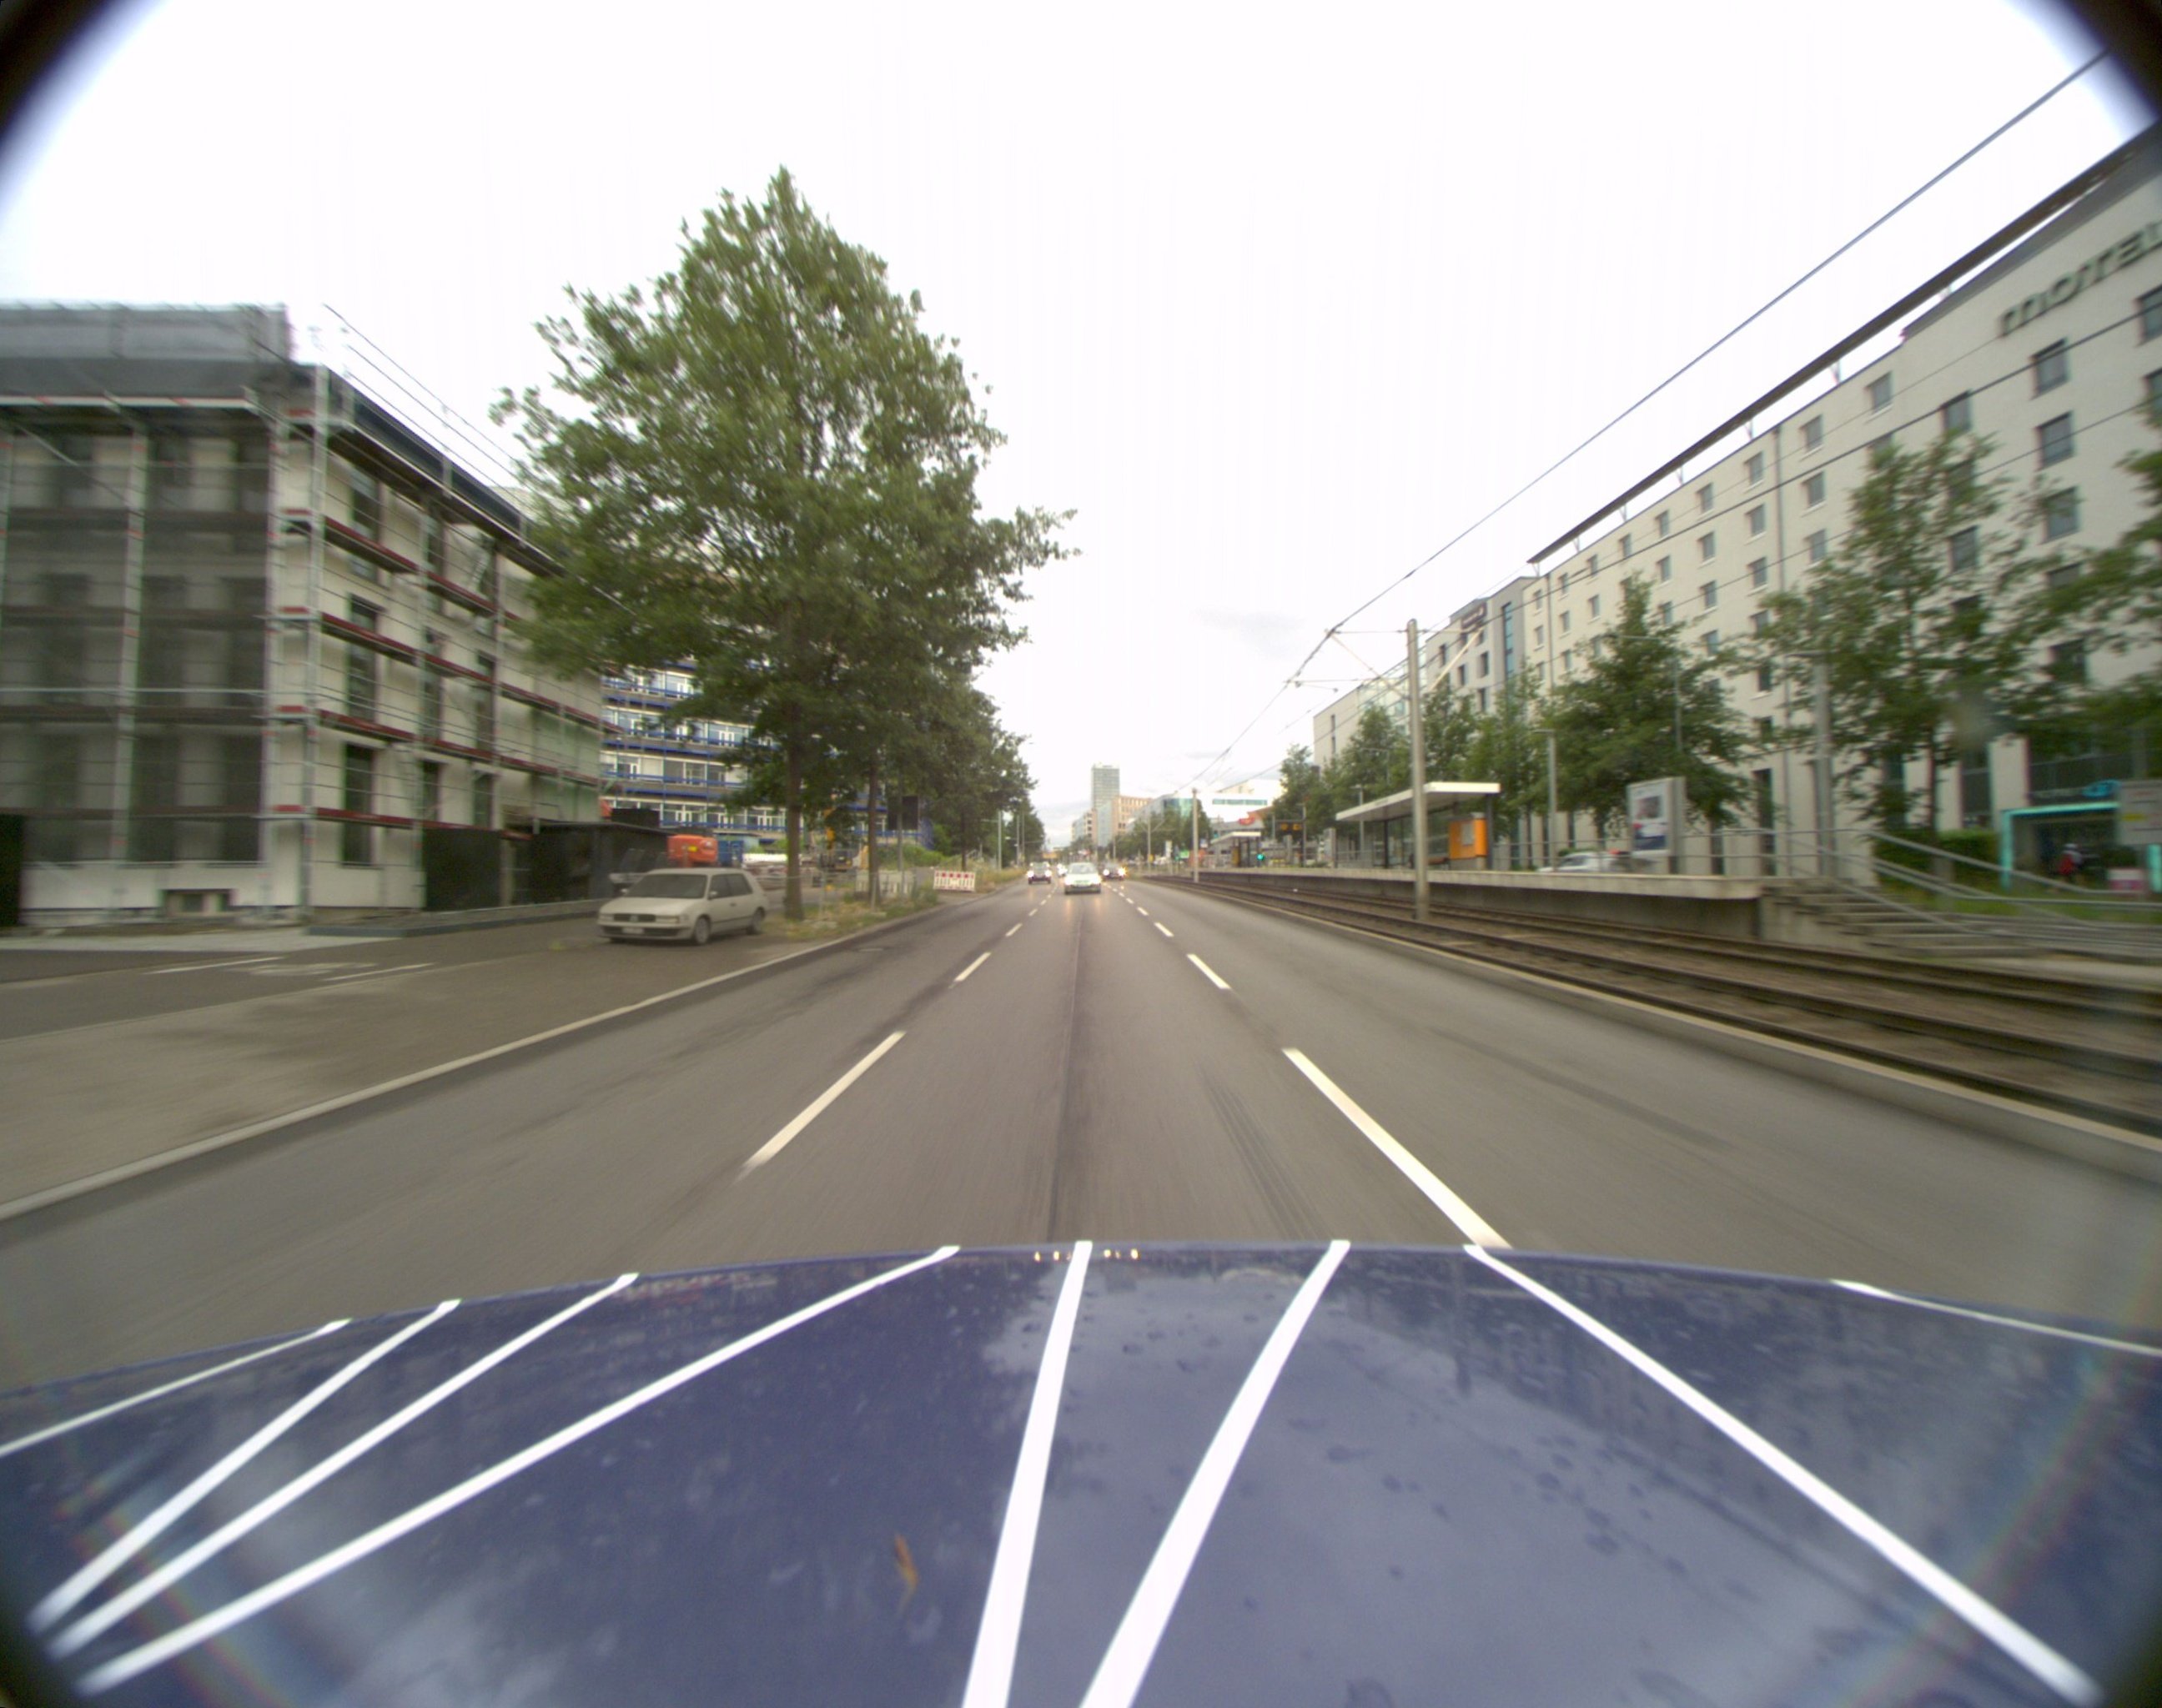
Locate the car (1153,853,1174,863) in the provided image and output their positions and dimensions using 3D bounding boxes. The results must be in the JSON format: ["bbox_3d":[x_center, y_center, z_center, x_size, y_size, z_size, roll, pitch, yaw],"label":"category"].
[{"bbox_3d":[24.475,1.192,225.234,5.489,2.613,2.275,-2,1,-21],"label":"car"}]

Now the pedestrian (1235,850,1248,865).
[{"bbox_3d":[14.292,0.324,67.545,0.964,1.292,0.684,-1,0,-2],"label":"pedestrian"}]

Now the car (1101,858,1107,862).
[{"bbox_3d":[7.661,2.066,250.358,1.733,1.415,3.778,-1,0,-4],"label":"car"}]

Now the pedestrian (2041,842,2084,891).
[{"bbox_3d":[32.088,0.399,24.858,0.603,1.568,0.833,-3,1,-39],"label":"pedestrian"}]

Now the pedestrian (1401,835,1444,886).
[{"bbox_3d":[13.911,0.242,30.978,1.129,2.002,1.270,-2,1,0],"label":"pedestrian"}]

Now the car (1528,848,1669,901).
[{"bbox_3d":[19.636,0.727,29.172,1.998,1.836,5.002,0,0,0],"label":"car"}]

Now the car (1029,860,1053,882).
[{"bbox_3d":[-3.268,1.370,62.000,1.816,1.660,4.547,-2,0,-3],"label":"car"}]

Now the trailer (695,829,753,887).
[{"bbox_3d":[-20.716,0.225,44.208,2.649,3.025,7.483,-3,0,-25],"label":"trailer"}]

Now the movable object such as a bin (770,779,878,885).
[{"bbox_3d":[-15.153,-1.209,45.735,3.298,5.651,8.763,-2,0,0],"label":"movable object such as a bin"}]

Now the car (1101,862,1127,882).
[{"bbox_3d":[2.740,1.480,63.548,1.799,1.492,3.999,-2,0,-3],"label":"car"}]

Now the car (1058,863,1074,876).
[{"bbox_3d":[-1.925,1.879,95.543,1.781,1.551,3.739,-2,0,-3],"label":"car"}]

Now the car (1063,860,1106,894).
[{"bbox_3d":[0.117,1.109,37.542,1.804,1.533,4.373,-2,0,-3],"label":"car"}]

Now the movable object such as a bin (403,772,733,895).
[{"bbox_3d":[-22.819,-0.898,34.531,12.174,5.231,3.788,0,1,-3],"label":"movable object such as a bin"}]
